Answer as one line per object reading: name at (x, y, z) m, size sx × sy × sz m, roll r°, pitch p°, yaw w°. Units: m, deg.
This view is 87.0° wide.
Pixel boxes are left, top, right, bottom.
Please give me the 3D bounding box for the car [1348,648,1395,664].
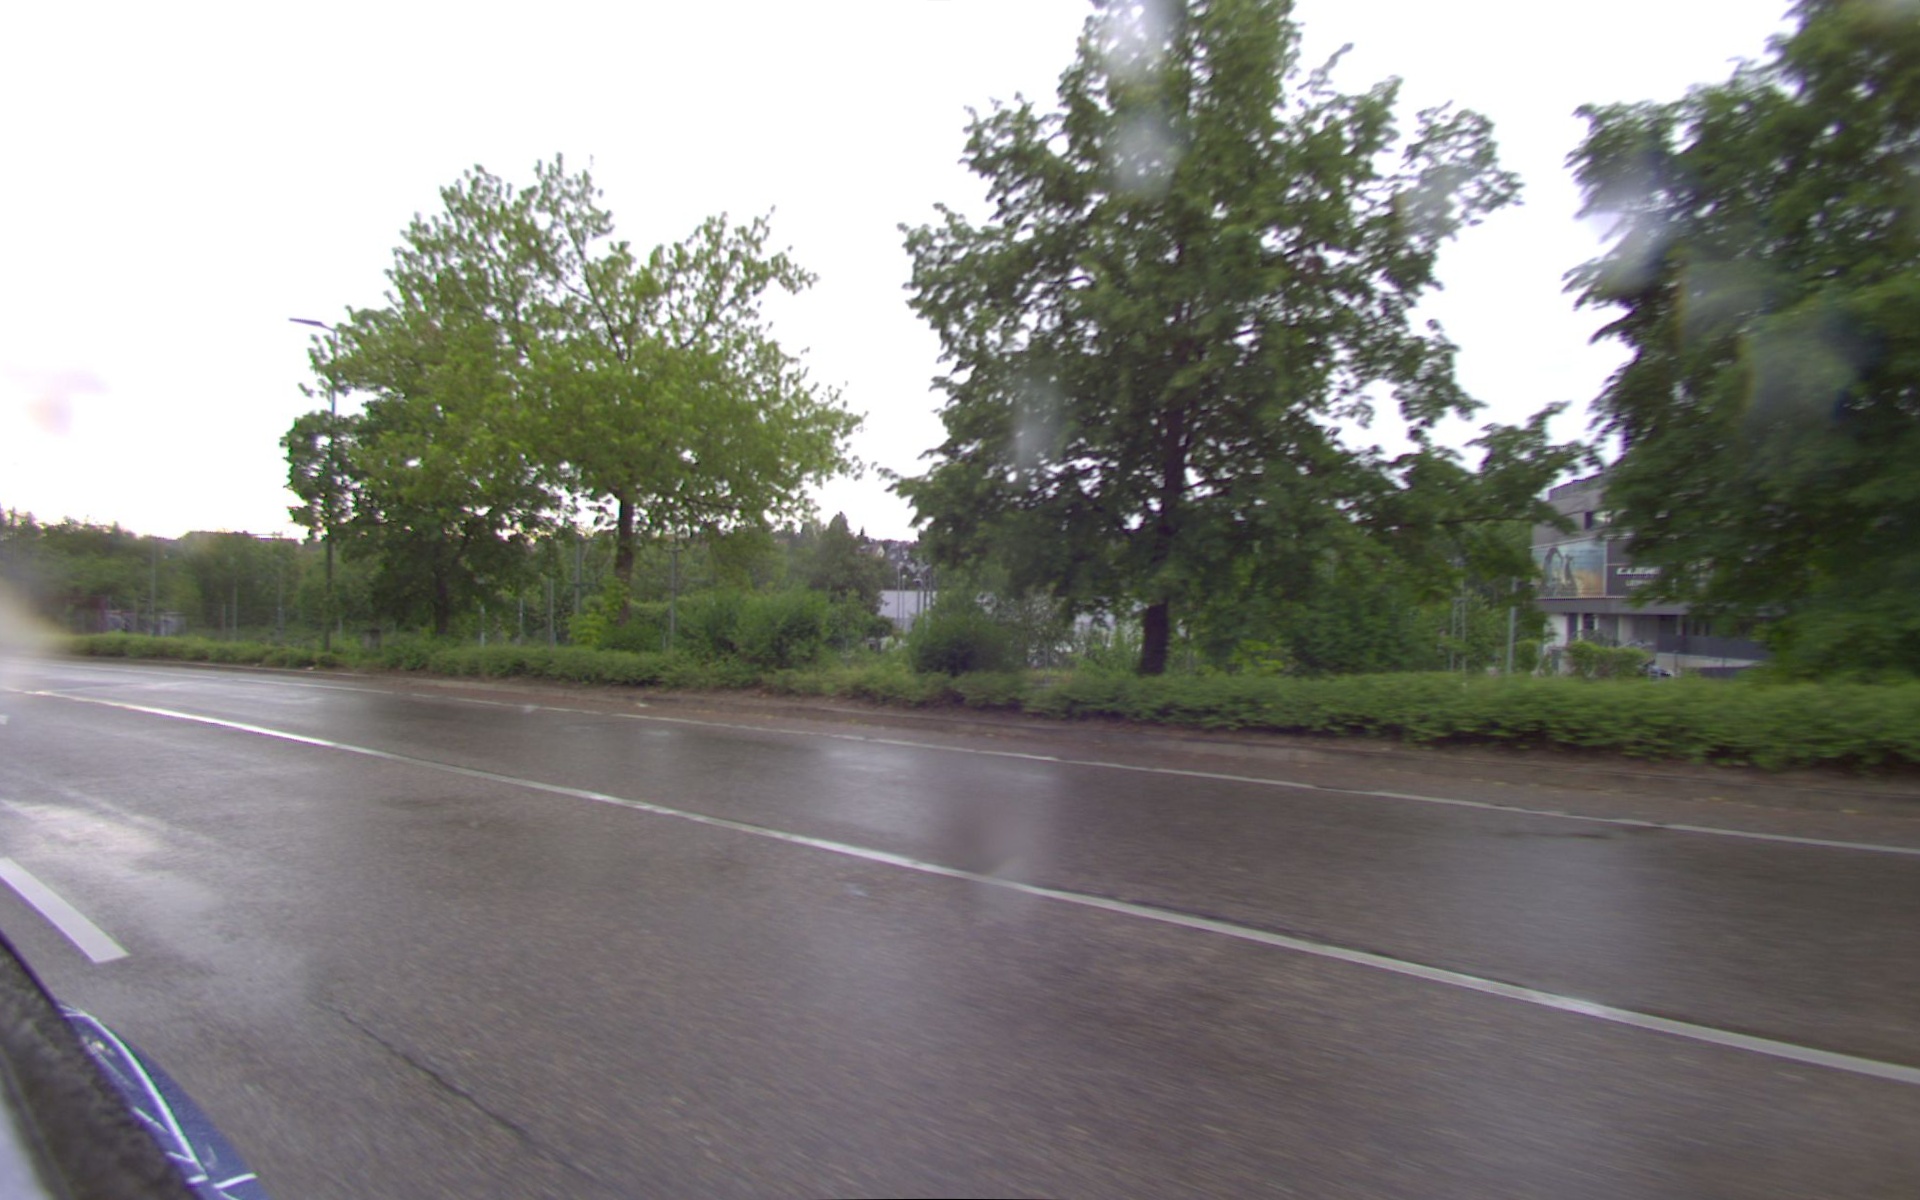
car at (39.464, 5.364, 97.079) m, size 3.990 × 1.420 × 1.779 m, roll 0°, pitch -3°, yaw 34°
